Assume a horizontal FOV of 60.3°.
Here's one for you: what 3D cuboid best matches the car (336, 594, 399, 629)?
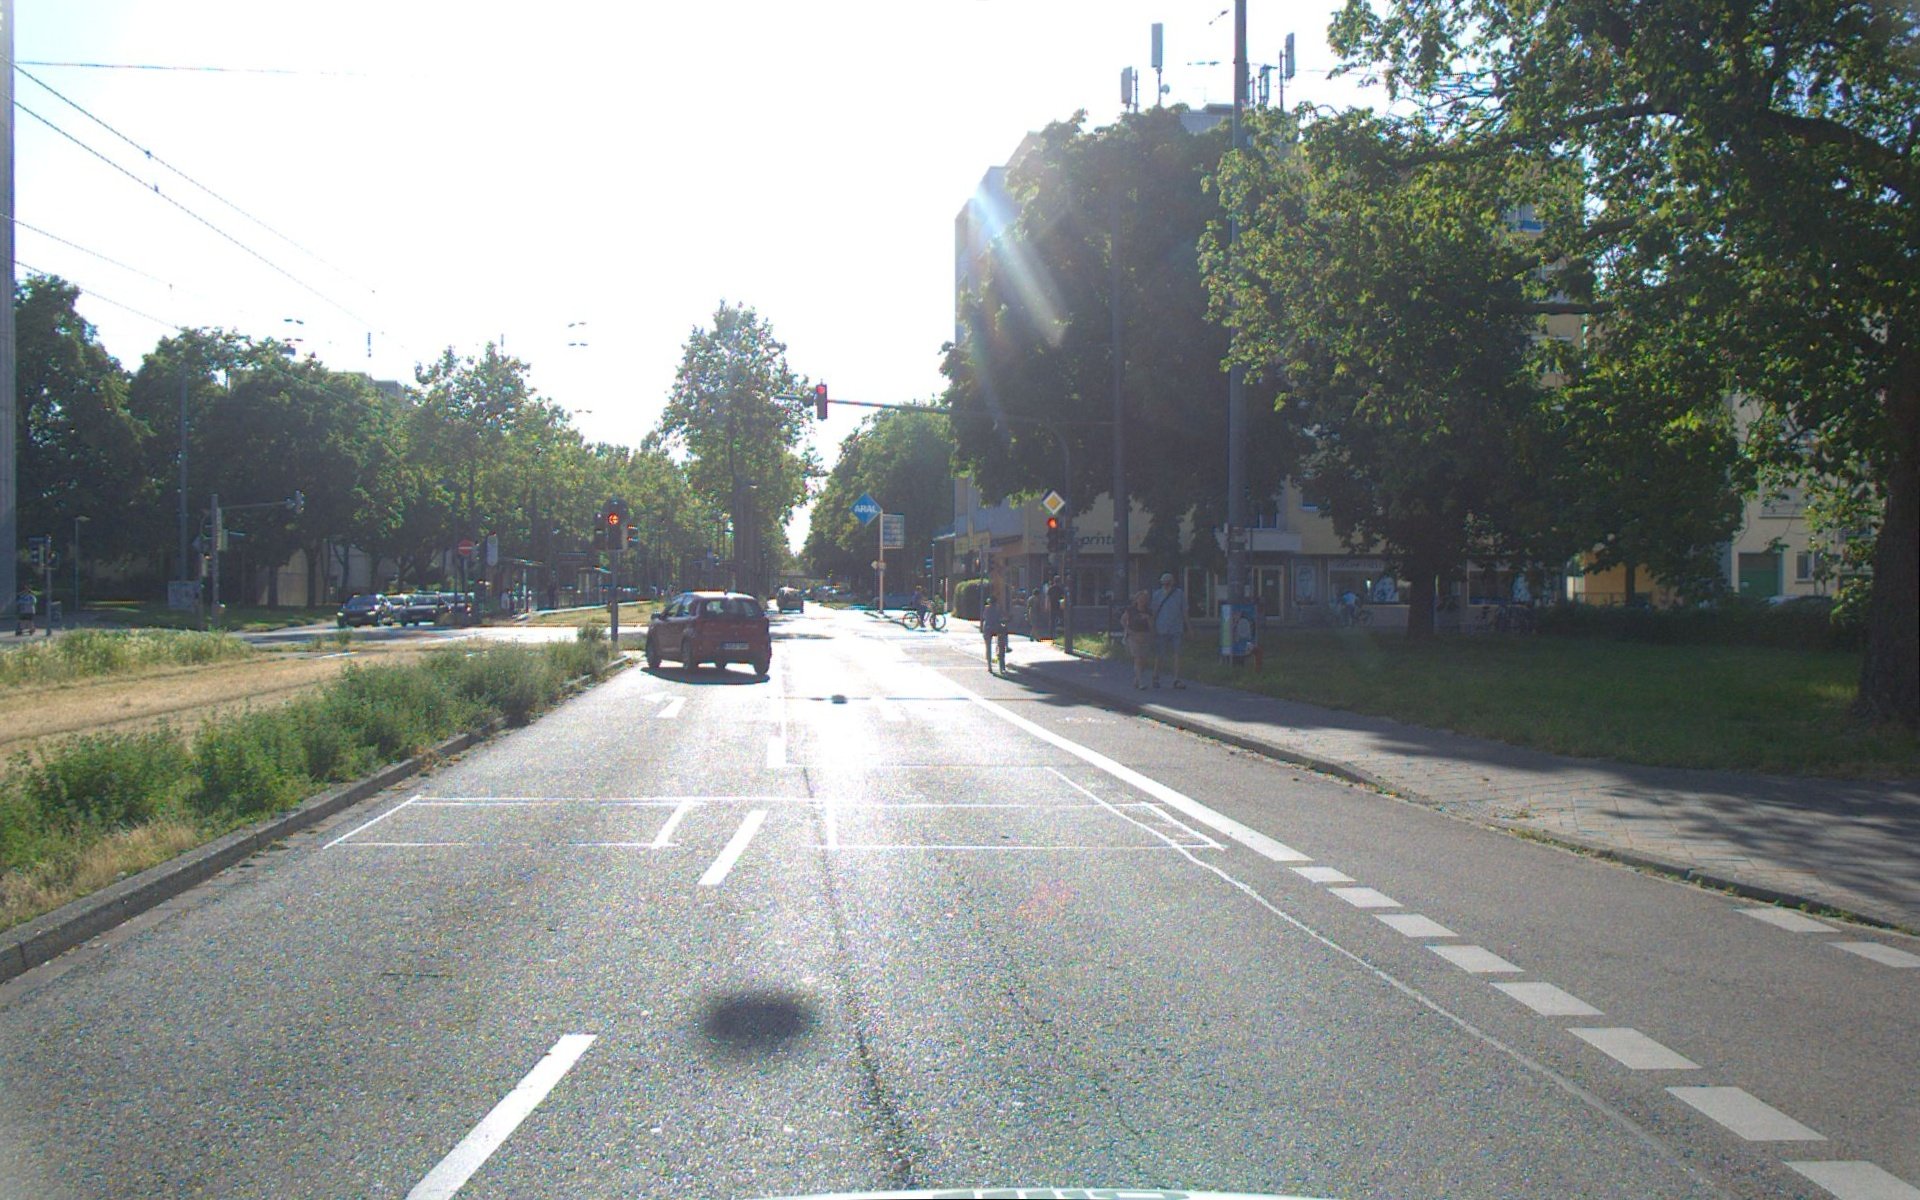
[{"bbox_3d":[-27.552,0.545,76.990,1.772,1.560,4.355,0,0,-6],"label":"car"}]

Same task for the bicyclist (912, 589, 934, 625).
[{"bbox_3d":[-1.583,0.285,70.352,0.752,1.496,0.899,-1,0,11],"label":"bicyclist"}]

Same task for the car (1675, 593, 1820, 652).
[{"bbox_3d":[21.085,0.597,44.328,3.187,1.555,1.573,0,0,-8],"label":"car"}]

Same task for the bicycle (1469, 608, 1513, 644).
[{"bbox_3d":[16.424,0.796,51.223,0.585,1.053,1.793,2,-1,-7],"label":"bicycle"}]

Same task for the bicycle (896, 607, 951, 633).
[{"bbox_3d":[-1.548,0.864,70.349,2.203,1.004,0.790,1,4,9],"label":"bicycle"}]

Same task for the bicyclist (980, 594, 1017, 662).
[{"bbox_3d":[0.769,0.561,33.498,0.625,1.346,0.802,2,-1,-4],"label":"bicyclist"}]

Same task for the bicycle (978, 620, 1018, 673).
[{"bbox_3d":[0.756,0.924,33.390,0.635,0.990,1.802,2,-1,-3],"label":"bicycle"}]

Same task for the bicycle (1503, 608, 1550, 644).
[{"bbox_3d":[17.666,0.803,51.620,0.585,1.053,1.988,2,-1,-7],"label":"bicycle"}]

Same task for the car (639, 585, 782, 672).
[{"bbox_3d":[-4.841,0.519,31.726,1.674,1.535,3.668,2,-1,-26],"label":"car"}]

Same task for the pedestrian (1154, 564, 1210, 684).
[{"bbox_3d":[3.457,0.361,25.802,0.689,1.821,0.694,-2,1,-1],"label":"pedestrian"}]

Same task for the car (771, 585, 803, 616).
[{"bbox_3d":[-11.430,0.032,109.231,1.931,1.892,3.993,2,-1,-8],"label":"car"}]

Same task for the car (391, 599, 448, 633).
[{"bbox_3d":[-25.207,0.734,77.320,1.655,1.560,4.355,0,0,-6],"label":"car"}]

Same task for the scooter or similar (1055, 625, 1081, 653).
[{"bbox_3d":[3.046,1.102,46.637,0.586,0.750,0.680,2,-1,-7],"label":"scooter or similar"}]

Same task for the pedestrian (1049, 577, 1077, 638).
[{"bbox_3d":[2.933,0.211,47.245,0.714,1.711,0.533,2,-1,6],"label":"pedestrian"}]

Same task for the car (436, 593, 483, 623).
[{"bbox_3d":[-25.593,0.391,84.721,1.536,1.426,3.909,2,-1,-6],"label":"car"}]

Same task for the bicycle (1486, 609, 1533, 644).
[{"bbox_3d":[17.044,0.806,51.340,0.585,1.053,2.004,2,-1,-7],"label":"bicycle"}]

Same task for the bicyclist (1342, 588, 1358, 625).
[{"bbox_3d":[16.881,0.293,71.580,0.517,1.594,0.463,2,-1,-9],"label":"bicyclist"}]

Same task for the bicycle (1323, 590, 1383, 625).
[{"bbox_3d":[17.145,0.341,72.163,2.423,1.424,0.607,2,-1,-8],"label":"bicycle"}]

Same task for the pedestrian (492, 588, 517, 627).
[{"bbox_3d":[-19.478,0.318,70.744,0.874,1.634,0.612,2,-1,-6],"label":"pedestrian"}]

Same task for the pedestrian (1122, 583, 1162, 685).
[{"bbox_3d":[2.846,0.525,25.906,0.518,1.555,0.627,-2,-1,-1],"label":"pedestrian"}]

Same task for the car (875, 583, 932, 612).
[{"bbox_3d":[-4.168,-0.173,122.314,3.903,1.892,2.013,2,-1,5],"label":"car"}]

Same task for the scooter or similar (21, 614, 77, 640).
[{"bbox_3d":[-32.779,0.960,59.549,1.710,0.915,0.560,0,-1,-22],"label":"scooter or similar"}]

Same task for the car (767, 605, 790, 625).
[{"bbox_3d":[-16.278,1.323,148.285,1.858,1.639,4.492,2,-1,-7],"label":"car"}]

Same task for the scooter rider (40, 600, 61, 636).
[{"bbox_3d":[-32.742,0.646,59.547,0.518,1.239,0.583,3,-1,-23],"label":"scooter rider"}]

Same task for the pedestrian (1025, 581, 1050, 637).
[{"bbox_3d":[2.208,0.262,47.270,0.633,1.549,0.496,2,-1,6],"label":"pedestrian"}]
